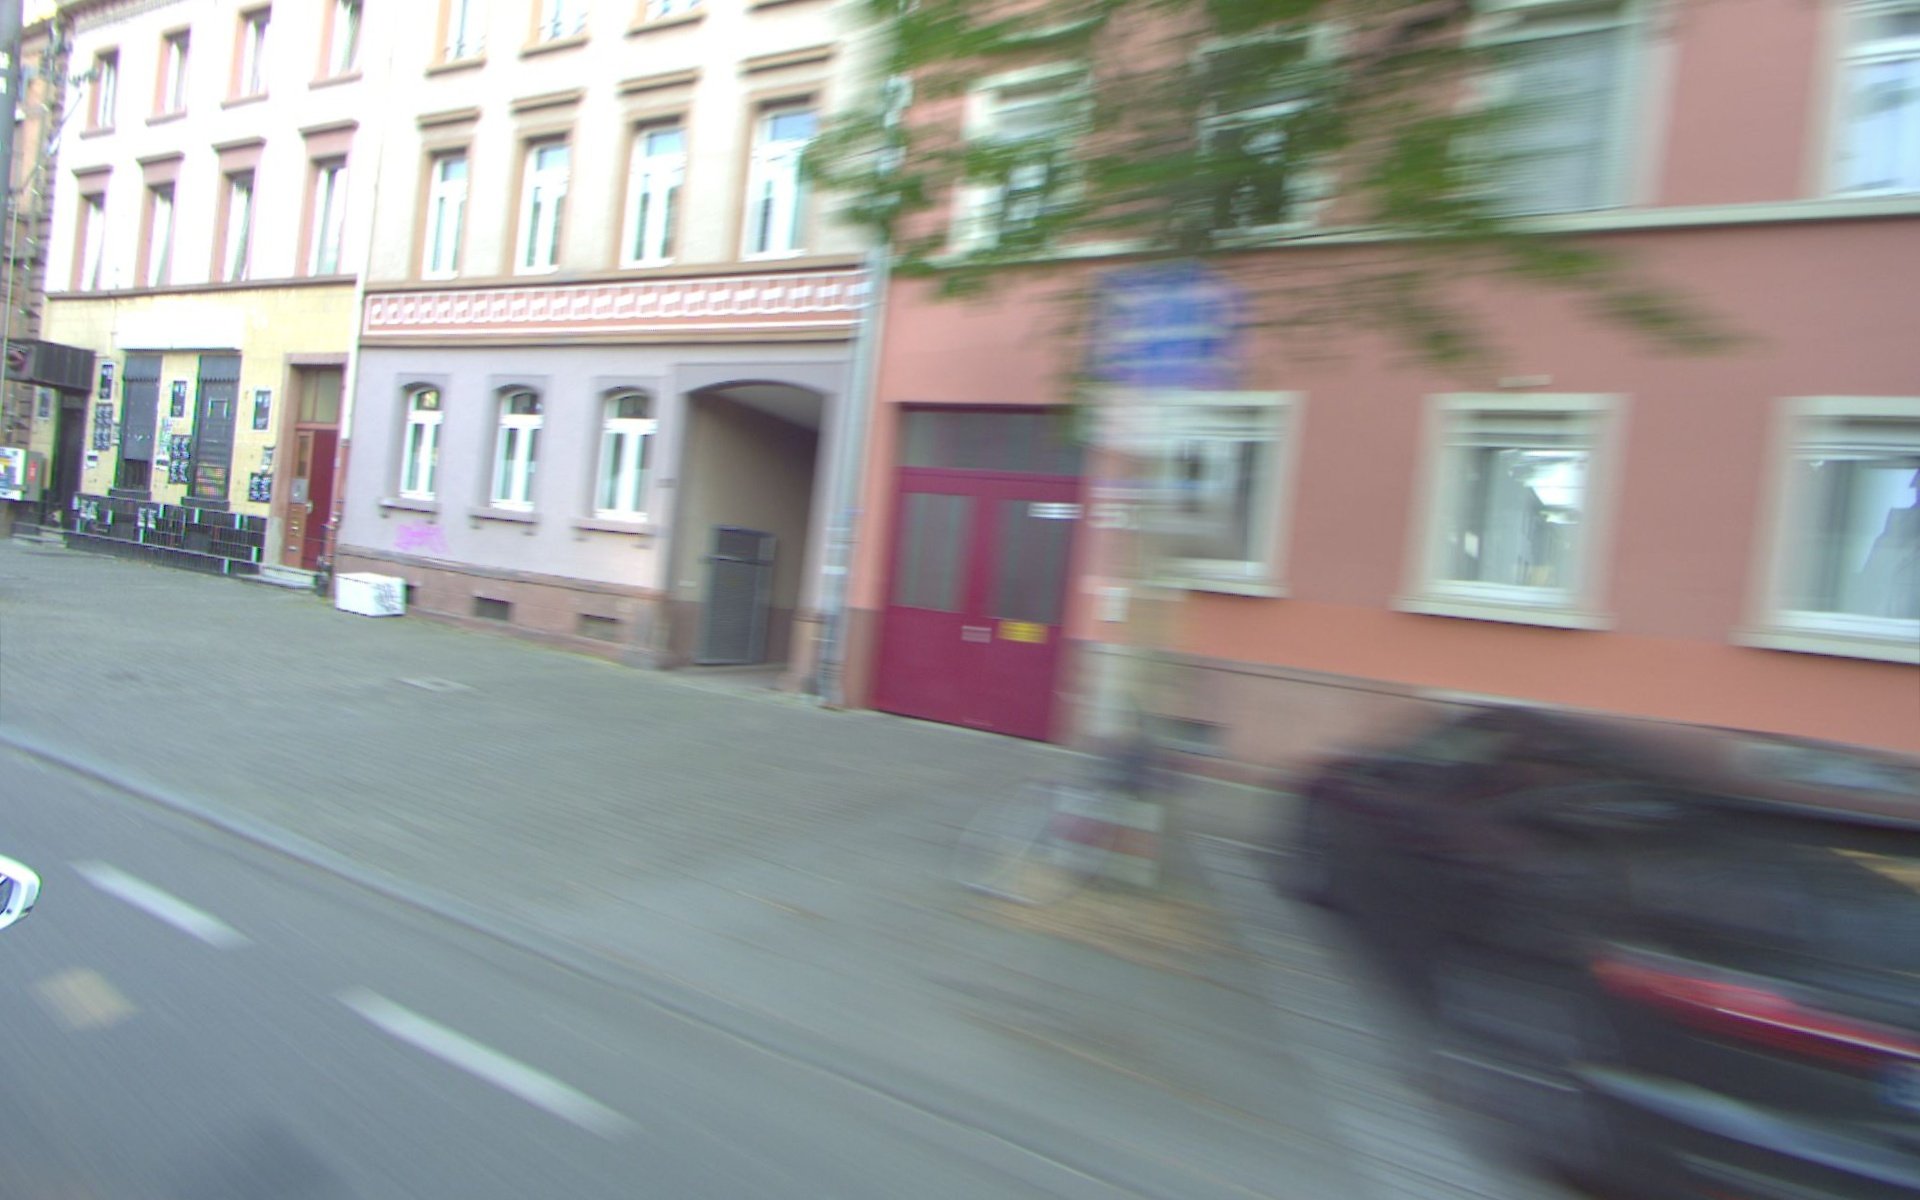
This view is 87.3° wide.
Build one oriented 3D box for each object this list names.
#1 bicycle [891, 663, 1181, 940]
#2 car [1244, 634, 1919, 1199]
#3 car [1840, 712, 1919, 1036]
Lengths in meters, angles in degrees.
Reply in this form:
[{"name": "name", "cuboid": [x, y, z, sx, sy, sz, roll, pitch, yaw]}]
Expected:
[{"name": "bicycle", "cuboid": [0.496, 0.989, 5.578, 0.911, 1.116, 1.692, 8, 2, 27]}, {"name": "car", "cuboid": [2.710, 1.104, 4.477, 1.678, 1.476, 4.617, 7, 1, 3]}, {"name": "car", "cuboid": [5.469, 1.437, 3.217, 1.796, 1.511, 3.999, 5, 1, 3]}]
